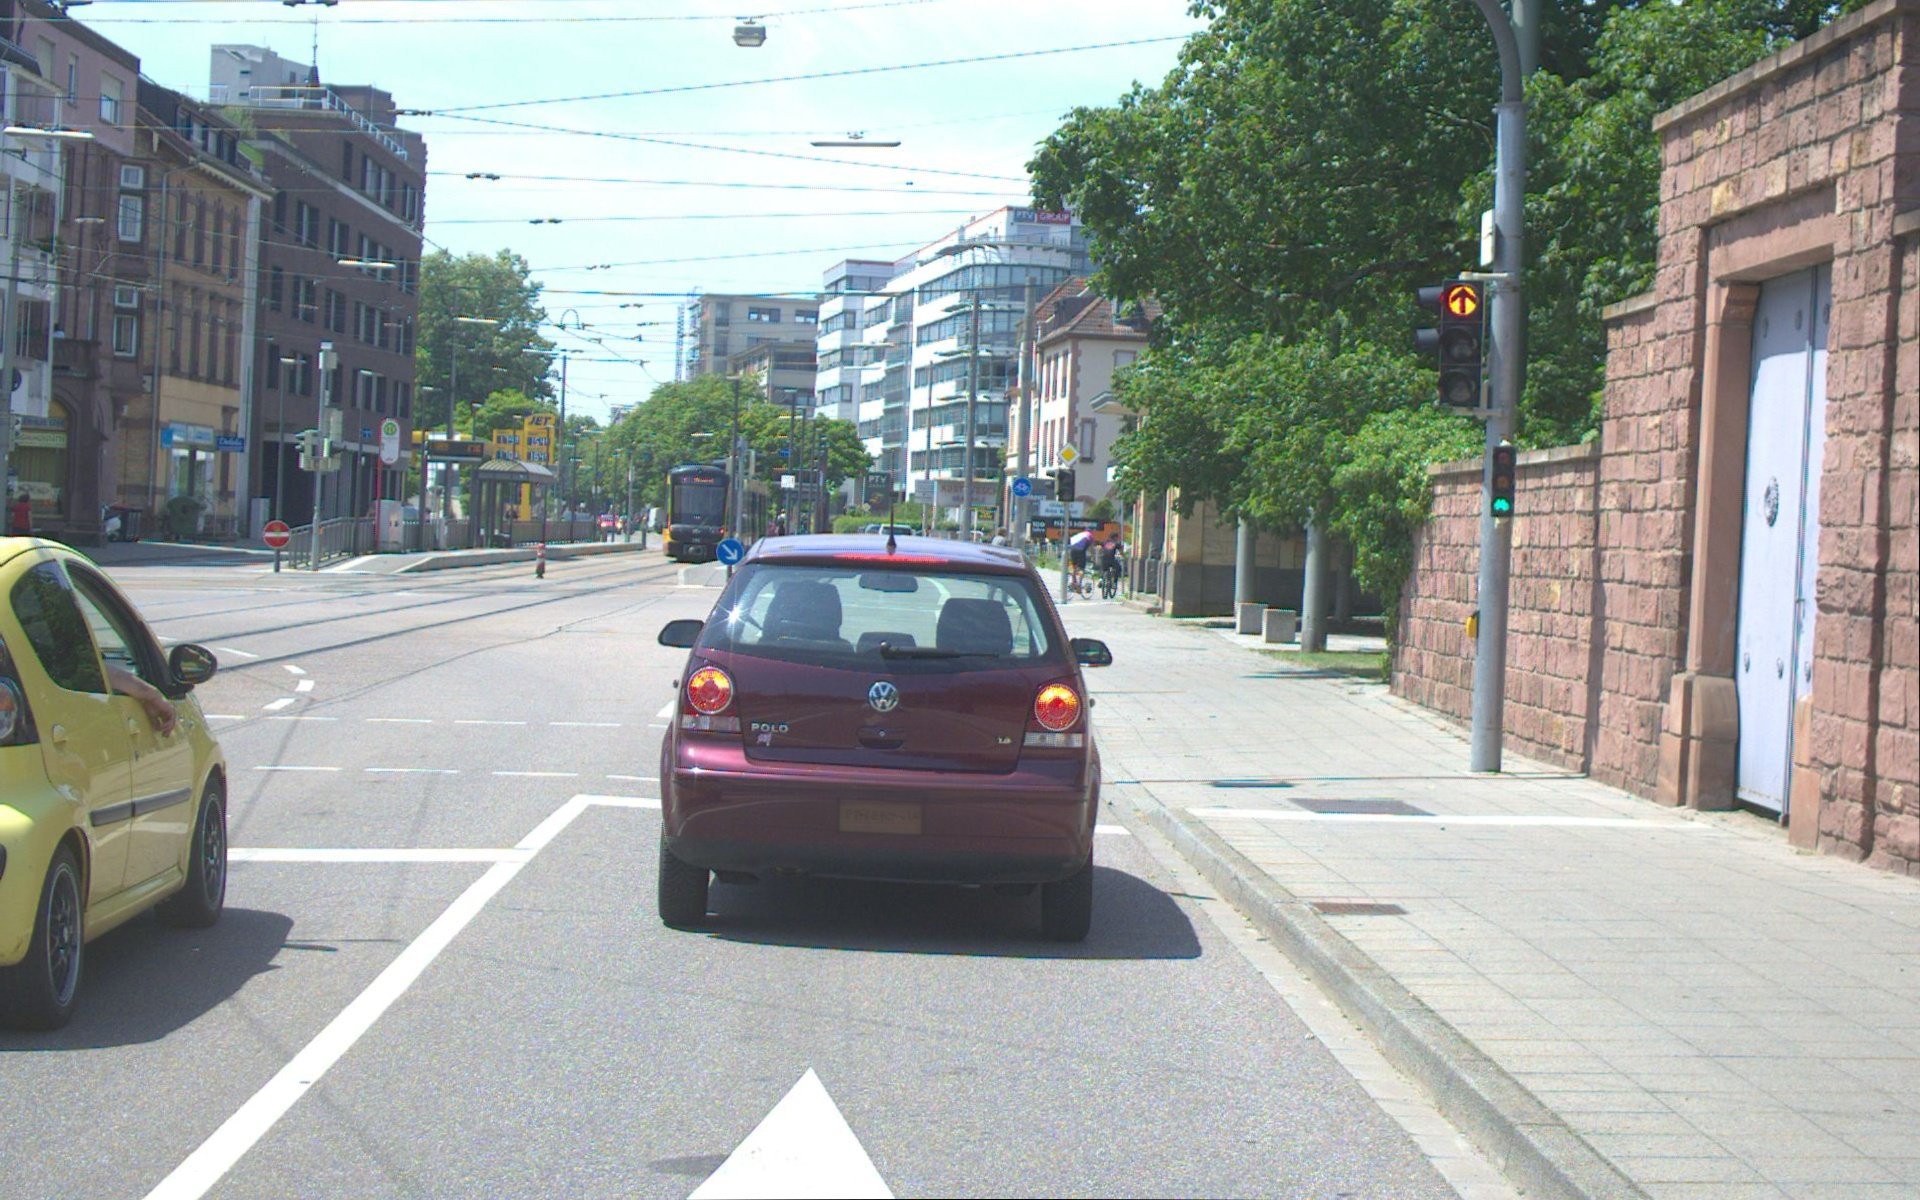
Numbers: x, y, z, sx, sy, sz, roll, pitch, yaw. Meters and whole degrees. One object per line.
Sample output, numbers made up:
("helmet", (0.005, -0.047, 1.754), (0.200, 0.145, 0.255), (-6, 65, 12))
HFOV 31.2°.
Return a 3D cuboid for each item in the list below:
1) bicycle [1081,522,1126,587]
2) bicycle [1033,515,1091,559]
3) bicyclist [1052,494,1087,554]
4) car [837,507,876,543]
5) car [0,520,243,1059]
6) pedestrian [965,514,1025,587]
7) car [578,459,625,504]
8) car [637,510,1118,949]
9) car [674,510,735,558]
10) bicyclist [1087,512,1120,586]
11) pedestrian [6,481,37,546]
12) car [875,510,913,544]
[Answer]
("bicycle", (3.475, -1.101, 83.631), (0.835, 1.520, 4.000), (1, 1, -1))
("bicycle", (2.432, -1.483, 81.681), (0.578, 1.004, 1.868), (1, 1, 28))
("bicyclist", (2.614, -1.805, 82.012), (0.505, 1.401, 0.767), (1, 0, 27))
("car", (-4.986, -3.603, 165.338), (1.780, 1.617, 4.000), (1, 1, -3))
("car", (-3.481, 0.480, 11.059), (1.723, 1.440, 3.293), (1, 2, -1))
("pedestrian", (0.820, -1.168, 81.033), (0.918, 1.655, 0.982), (3, 2, 44))
("car", (-16.665, -5.509, 160.088), (1.735, 2.007, 4.000), (2, 1, -1))
("car", (-0.338, 0.404, 13.993), (1.610, 1.458, 4.086), (3, 1, -2))
("car", (-9.116, -2.346, 122.833), (1.938, 1.635, 4.000), (1, 1, -1))
("bicyclist", (3.524, -1.252, 84.527), (0.721, 1.812, 0.888), (1, 0, -1))
("pedestrian", (-22.304, -2.056, 81.735), (0.484, 1.535, 0.538), (1, 0, 13))
("car", (-2.760, -3.052, 143.109), (1.572, 1.411, 3.720), (0, 1, -1))
